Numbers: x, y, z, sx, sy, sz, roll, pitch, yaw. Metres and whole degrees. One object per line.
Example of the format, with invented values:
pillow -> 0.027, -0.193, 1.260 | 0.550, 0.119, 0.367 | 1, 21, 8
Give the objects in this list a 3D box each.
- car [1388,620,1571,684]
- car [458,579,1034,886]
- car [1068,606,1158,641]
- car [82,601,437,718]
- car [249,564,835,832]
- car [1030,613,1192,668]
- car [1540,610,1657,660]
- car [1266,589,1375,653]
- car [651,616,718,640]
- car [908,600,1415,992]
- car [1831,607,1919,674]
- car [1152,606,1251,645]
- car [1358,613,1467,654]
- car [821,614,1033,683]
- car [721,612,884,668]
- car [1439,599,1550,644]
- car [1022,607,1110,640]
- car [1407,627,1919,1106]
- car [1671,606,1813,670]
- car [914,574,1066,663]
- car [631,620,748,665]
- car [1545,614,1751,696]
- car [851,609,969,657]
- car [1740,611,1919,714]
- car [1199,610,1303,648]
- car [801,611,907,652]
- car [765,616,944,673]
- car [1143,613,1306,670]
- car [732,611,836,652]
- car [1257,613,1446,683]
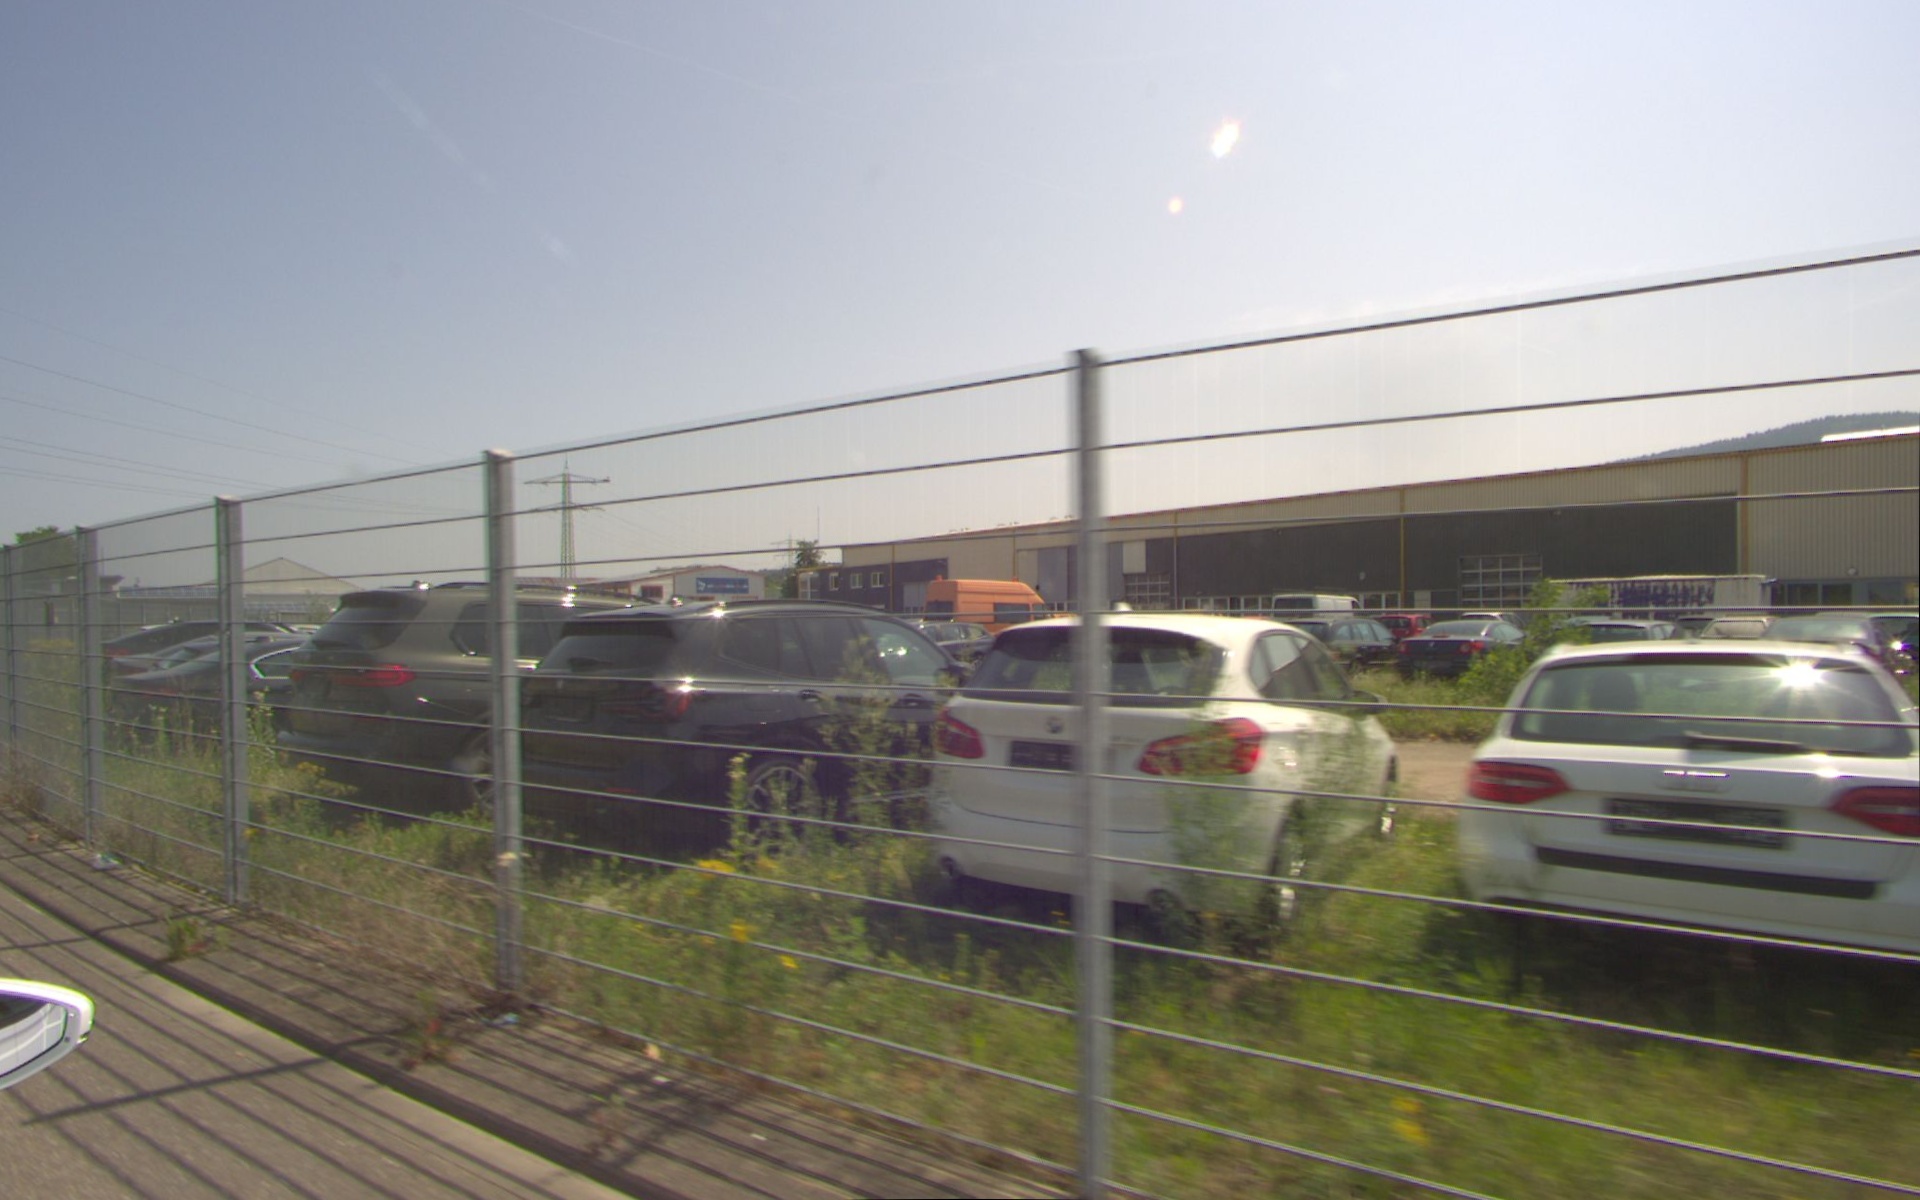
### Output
car -> 10.309, 0.961, 19.728 | 4.338, 1.046, 1.606 | 0, 0, -39
car -> -1.240, 0.706, 7.550 | 1.669, 1.624, 4.282 | 0, 0, 35
car -> 7.127, 1.044, 46.374 | 4.342, 1.505, 1.737 | 0, 0, -41
car -> -10.988, 0.830, 15.967 | 4.433, 1.603, 1.781 | 0, 0, -40
car -> -3.396, 0.658, 9.067 | 1.720, 1.792, 4.667 | 0, 0, 38
car -> 4.045, 1.019, 26.504 | 4.338, 1.286, 1.807 | 0, 0, -39
car -> 20.030, 1.049, 31.366 | 4.338, 1.396, 1.827 | 0, 0, -39
car -> 13.354, 0.733, 37.015 | 4.342, 2.200, 1.956 | 0, 0, -41
car -> -22.685, 2.287, 82.617 | 5.016, 1.924, 1.844 | 1, -1, -38
car -> 1.364, 0.731, 5.539 | 1.496, 1.436, 3.455 | 0, 0, 35
car -> 21.874, 0.873, 23.192 | 4.338, 1.396, 1.827 | 0, 0, -39
car -> 10.227, 1.046, 42.262 | 4.342, 1.505, 1.956 | 0, 0, -41
car -> 16.223, 1.157, 35.821 | 4.342, 1.340, 1.956 | 0, 0, -41
car -> -0.670, 1.030, 22.854 | 4.704, 1.370, 1.807 | 0, 0, -39
car -> -4.577, 1.123, 29.518 | 4.522, 1.451, 1.649 | 0, 0, -39
car -> 18.254, 0.693, 34.137 | 4.342, 1.404, 1.956 | 0, 0, -41
car -> 5.143, 1.094, 48.276 | 4.342, 1.505, 1.737 | 0, 0, -41
car -> 3.496, 0.839, 4.712 | 1.622, 1.335, 3.448 | 0, 0, 41
car -> 19.365, 0.880, 24.729 | 4.338, 1.396, 1.827 | 0, 0, -39
car -> 1.006, 0.541, 31.775 | 4.691, 2.619, 1.964 | -1, 0, -39
car -> -9.636, 1.488, 35.790 | 3.729, 1.456, 1.599 | 0, 0, -39
car -> 12.193, 0.879, 17.651 | 4.338, 1.222, 1.827 | 0, 0, -39
car -> -1.643, 1.075, 33.829 | 3.784, 1.481, 1.576 | 0, 0, -39
car -> 14.048, 0.878, 15.779 | 4.338, 1.363, 1.827 | 0, 0, -39
car -> 11.537, 1.112, 39.625 | 4.338, 1.396, 1.827 | 0, 0, -39
car -> -4.045, 1.176, 38.431 | 3.784, 1.481, 1.576 | 0, 0, -39
car -> -2.843, 1.165, 27.687 | 4.704, 1.370, 1.807 | 0, 0, -39
car -> 6.482, 0.949, 24.327 | 4.338, 1.199, 1.564 | 0, 0, -39
car -> -6.912, 1.207, 39.559 | 3.784, 1.481, 1.576 | 0, 0, -39
car -> 8.443, 0.950, 21.437 | 4.338, 1.292, 1.864 | 0, 0, -39
